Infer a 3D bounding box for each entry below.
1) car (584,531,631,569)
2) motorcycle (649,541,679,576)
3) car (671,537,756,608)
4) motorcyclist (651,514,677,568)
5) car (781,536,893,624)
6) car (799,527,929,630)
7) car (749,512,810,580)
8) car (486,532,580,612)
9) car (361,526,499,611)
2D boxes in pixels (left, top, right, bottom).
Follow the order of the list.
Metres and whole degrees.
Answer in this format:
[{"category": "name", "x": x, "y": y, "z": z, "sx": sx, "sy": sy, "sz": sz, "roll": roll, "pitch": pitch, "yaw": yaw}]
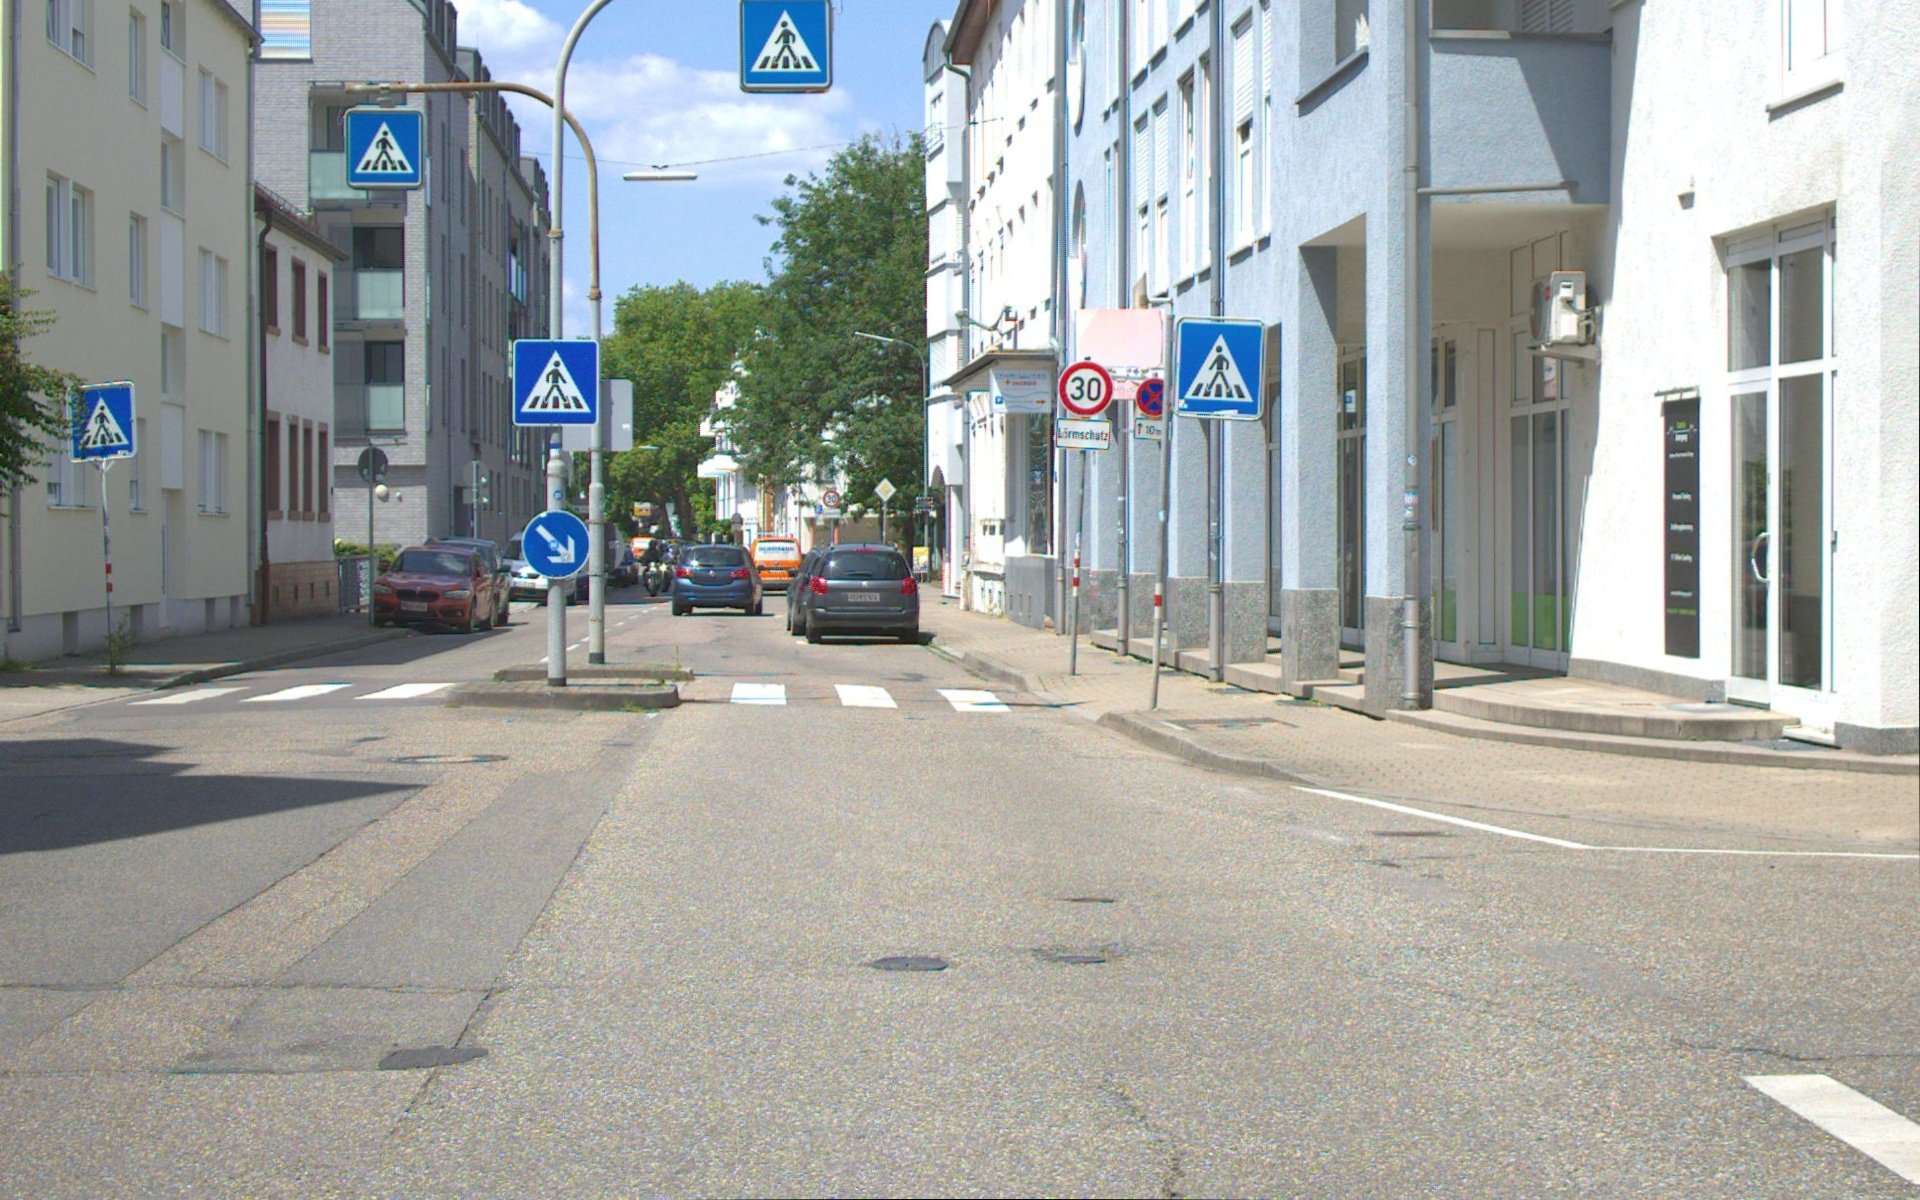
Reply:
[{"category": "car", "x": -13.859, "y": -1.972, "z": 135.226, "sx": 1.732, "sy": 1.437, "sz": 4.001, "roll": 0, "pitch": 1, "yaw": -4}, {"category": "motorcycle", "x": -9.094, "y": -1.280, "z": 105.730, "sx": 0.713, "sy": 1.025, "sz": 2.239, "roll": 0, "pitch": 2, "yaw": 0}, {"category": "car", "x": -5.107, "y": -0.590, "z": 71.555, "sx": 1.715, "sy": 1.397, "sz": 4.001, "roll": 0, "pitch": 2, "yaw": -3}, {"category": "motorcyclist", "x": -9.109, "y": -1.816, "z": 105.824, "sx": 0.713, "sy": 1.628, "sz": 1.069, "roll": 0, "pitch": 1, "yaw": 0}, {"category": "car", "x": -2.101, "y": -0.362, "z": 57.719, "sx": 1.729, "sy": 1.415, "sz": 4.546, "roll": 0, "pitch": 1, "yaw": -4}, {"category": "car", "x": -1.505, "y": -0.356, "z": 52.572, "sx": 1.709, "sy": 1.503, "sz": 4.001, "roll": 0, "pitch": 1, "yaw": -5}, {"category": "car", "x": -5.510, "y": -1.666, "z": 104.840, "sx": 1.839, "sy": 2.006, "sz": 4.001, "roll": 0, "pitch": 2, "yaw": -3}, {"category": "car", "x": -10.833, "y": -0.736, "z": 87.386, "sx": 1.757, "sy": 1.885, "sz": 4.337, "roll": 3, "pitch": 1, "yaw": 0}, {"category": "car", "x": -9.145, "y": -0.567, "z": 59.605, "sx": 1.834, "sy": 1.412, "sz": 4.290, "roll": 0, "pitch": 1, "yaw": -1}]
